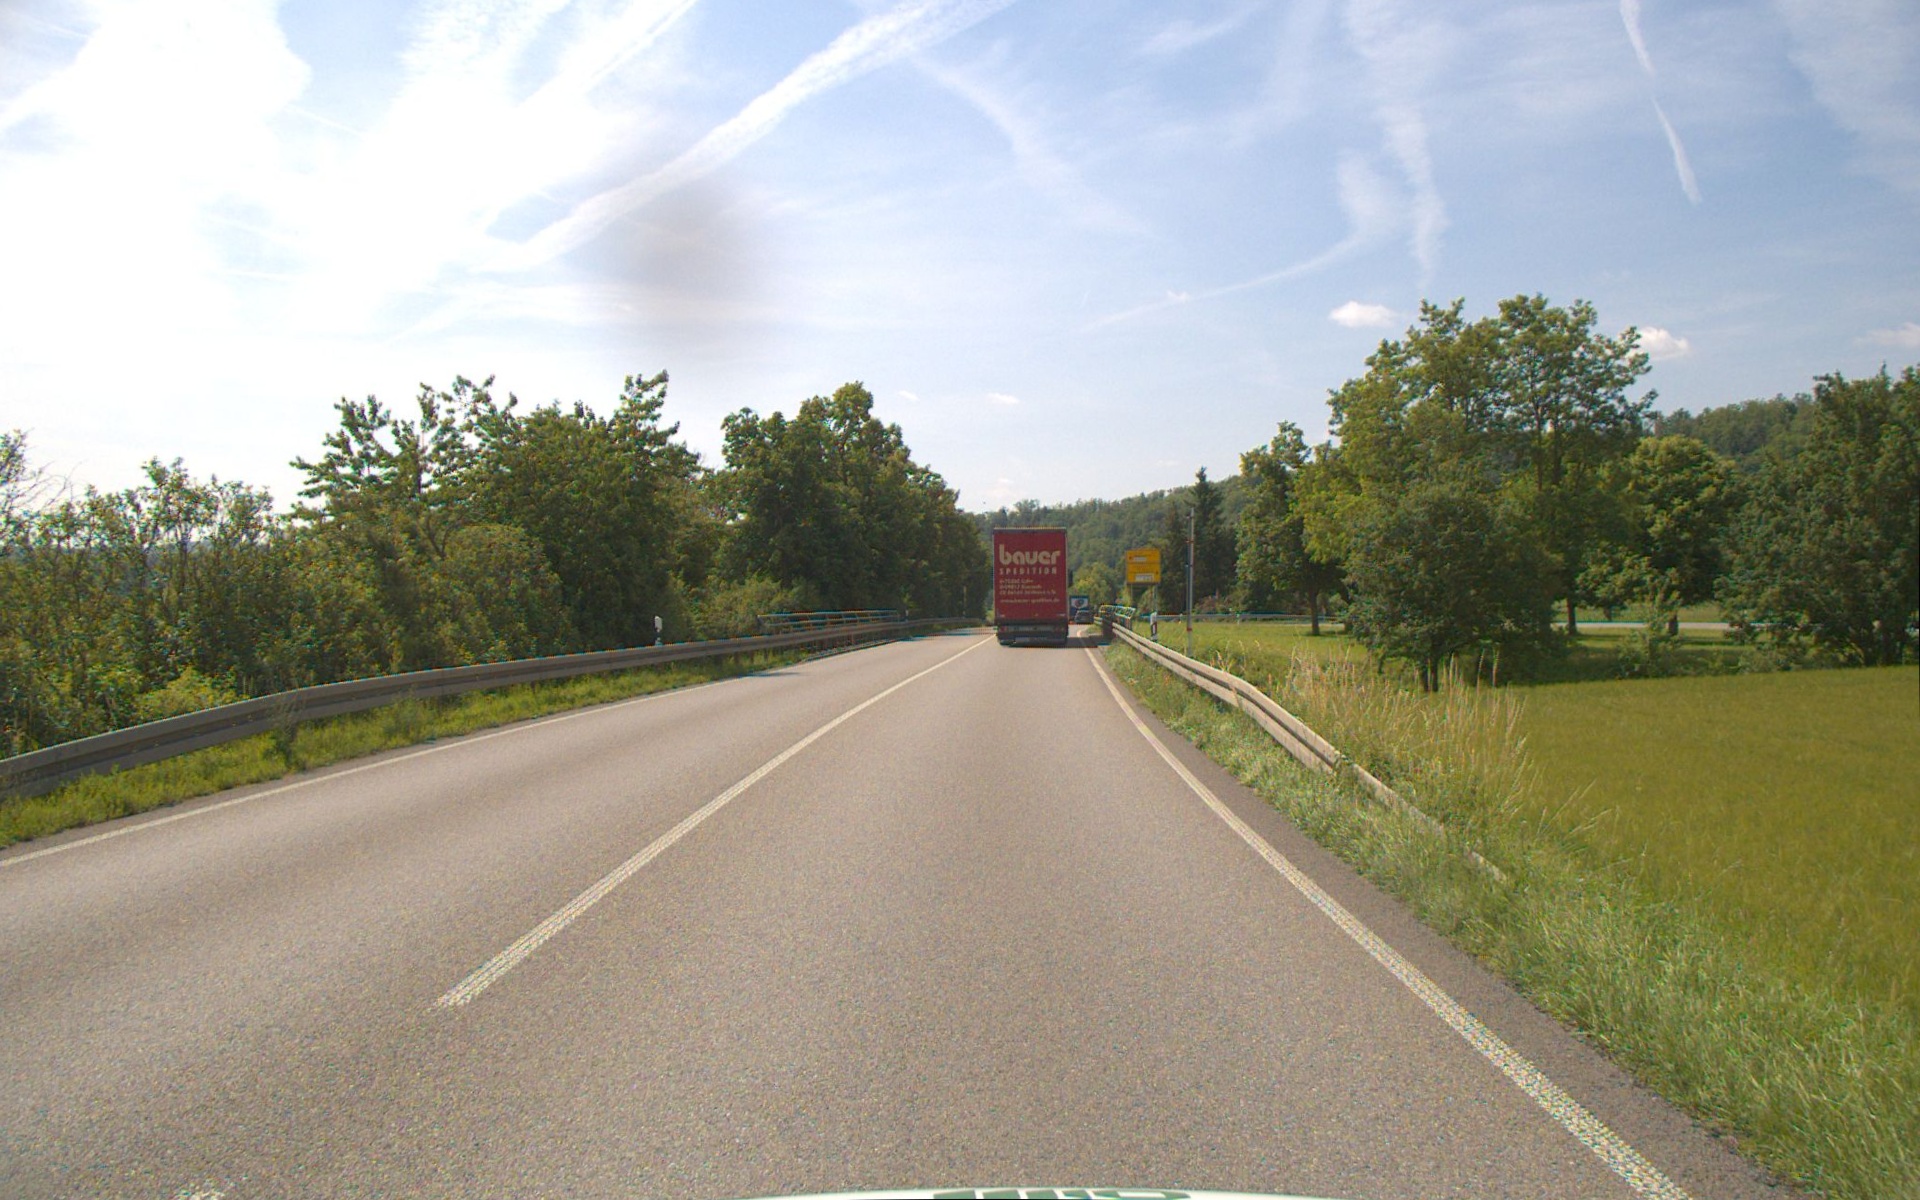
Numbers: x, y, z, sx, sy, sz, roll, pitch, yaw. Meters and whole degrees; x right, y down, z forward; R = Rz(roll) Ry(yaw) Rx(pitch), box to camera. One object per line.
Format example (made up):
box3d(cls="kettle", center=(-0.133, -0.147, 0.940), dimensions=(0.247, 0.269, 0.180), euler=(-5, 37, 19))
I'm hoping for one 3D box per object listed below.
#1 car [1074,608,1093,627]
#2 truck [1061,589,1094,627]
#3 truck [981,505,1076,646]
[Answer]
box3d(cls="car", center=(13.231, 1.851, 176.837), dimensions=(1.952, 1.842, 4.001), euler=(2, -2, 4))
box3d(cls="truck", center=(14.807, 1.078, 207.953), dimensions=(3.822, 4.446, 13.298), euler=(1, -2, 5))
box3d(cls="truck", center=(2.756, -0.814, 62.379), dimensions=(3.106, 4.706, 13.550), euler=(-1, 0, 4))
